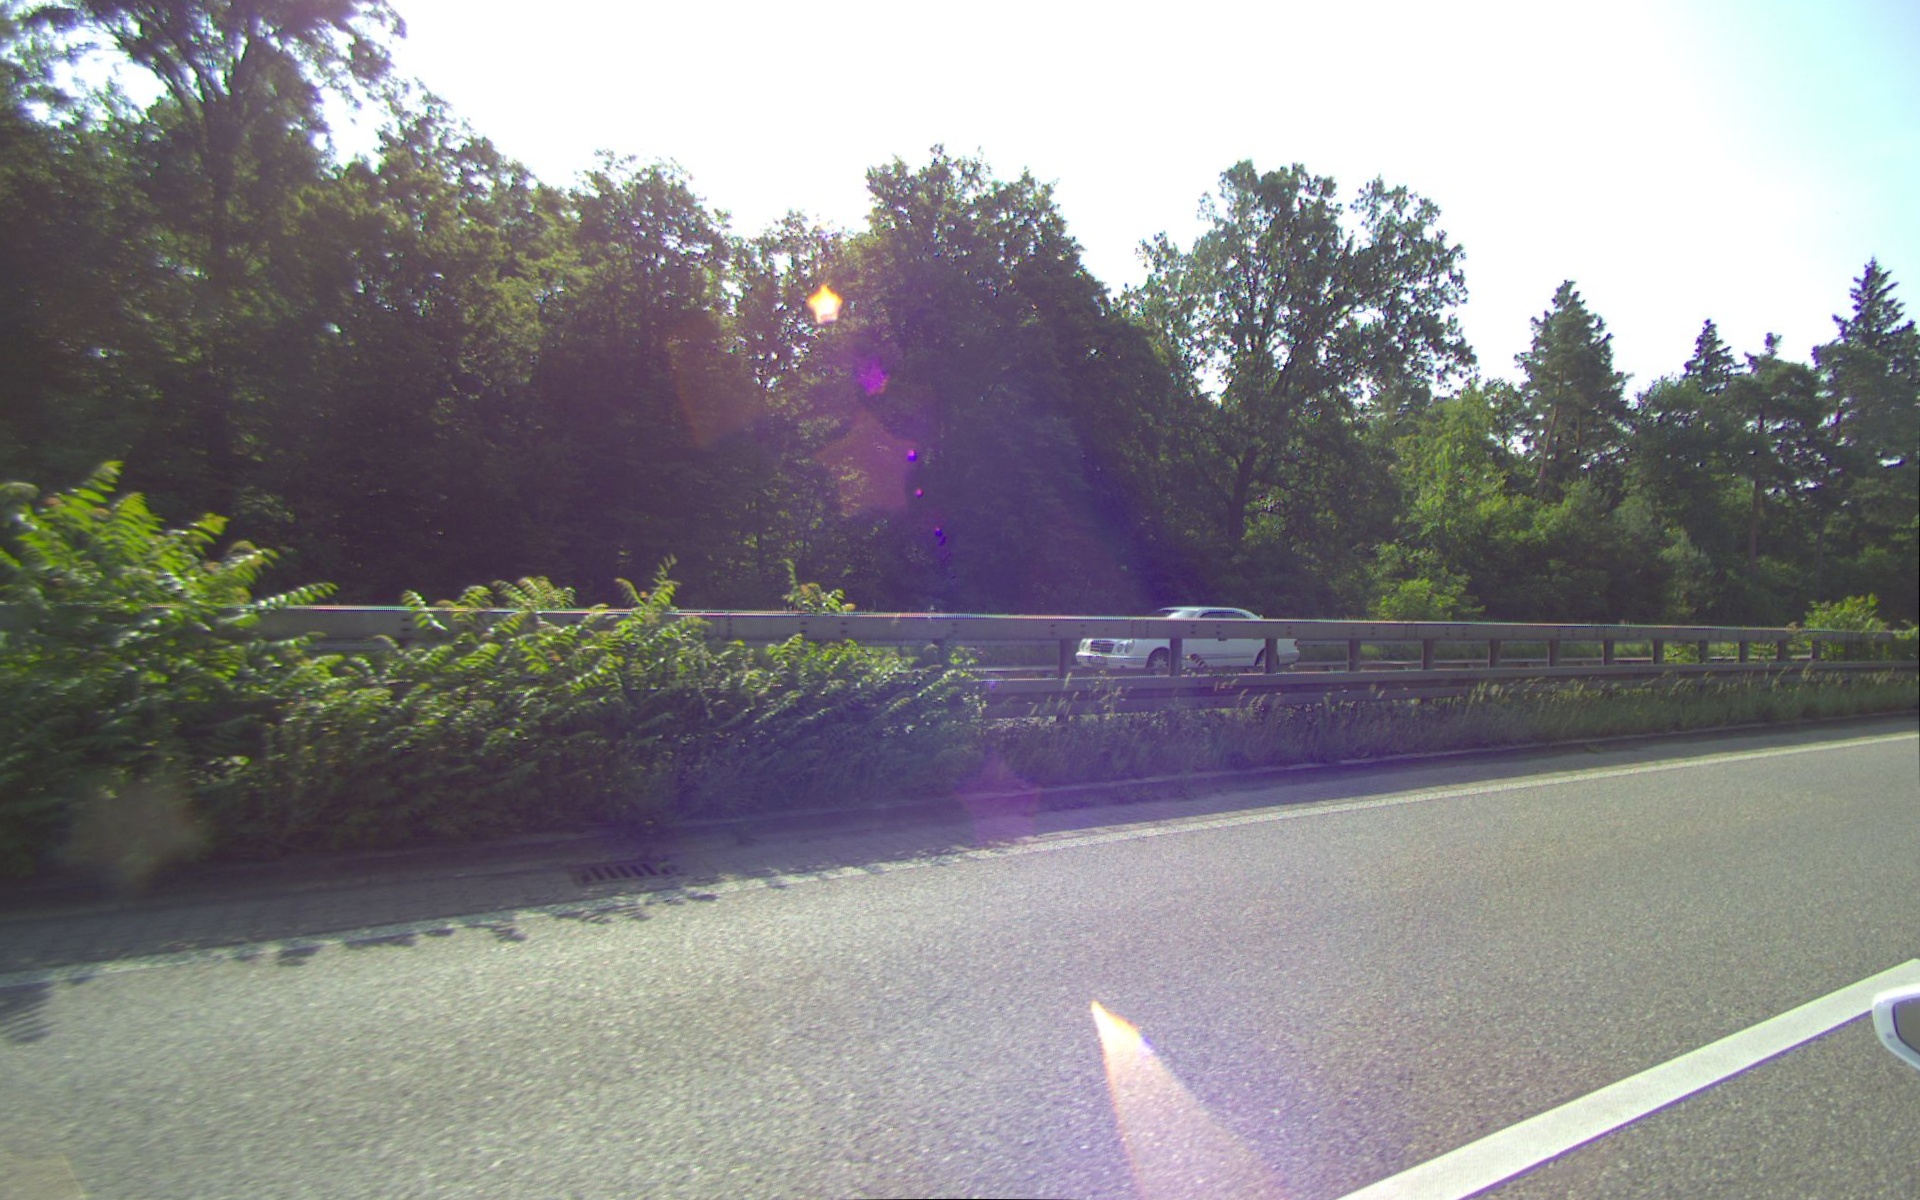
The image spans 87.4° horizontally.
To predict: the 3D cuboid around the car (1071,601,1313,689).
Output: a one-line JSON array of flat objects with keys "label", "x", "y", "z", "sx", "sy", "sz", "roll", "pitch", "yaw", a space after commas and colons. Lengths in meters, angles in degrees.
[{"label": "car", "x": 4.644, "y": 0.849, "z": 19.885, "sx": 4.754, "sy": 1.485, "sz": 1.742, "roll": 1, "pitch": 2, "yaw": -30}]
